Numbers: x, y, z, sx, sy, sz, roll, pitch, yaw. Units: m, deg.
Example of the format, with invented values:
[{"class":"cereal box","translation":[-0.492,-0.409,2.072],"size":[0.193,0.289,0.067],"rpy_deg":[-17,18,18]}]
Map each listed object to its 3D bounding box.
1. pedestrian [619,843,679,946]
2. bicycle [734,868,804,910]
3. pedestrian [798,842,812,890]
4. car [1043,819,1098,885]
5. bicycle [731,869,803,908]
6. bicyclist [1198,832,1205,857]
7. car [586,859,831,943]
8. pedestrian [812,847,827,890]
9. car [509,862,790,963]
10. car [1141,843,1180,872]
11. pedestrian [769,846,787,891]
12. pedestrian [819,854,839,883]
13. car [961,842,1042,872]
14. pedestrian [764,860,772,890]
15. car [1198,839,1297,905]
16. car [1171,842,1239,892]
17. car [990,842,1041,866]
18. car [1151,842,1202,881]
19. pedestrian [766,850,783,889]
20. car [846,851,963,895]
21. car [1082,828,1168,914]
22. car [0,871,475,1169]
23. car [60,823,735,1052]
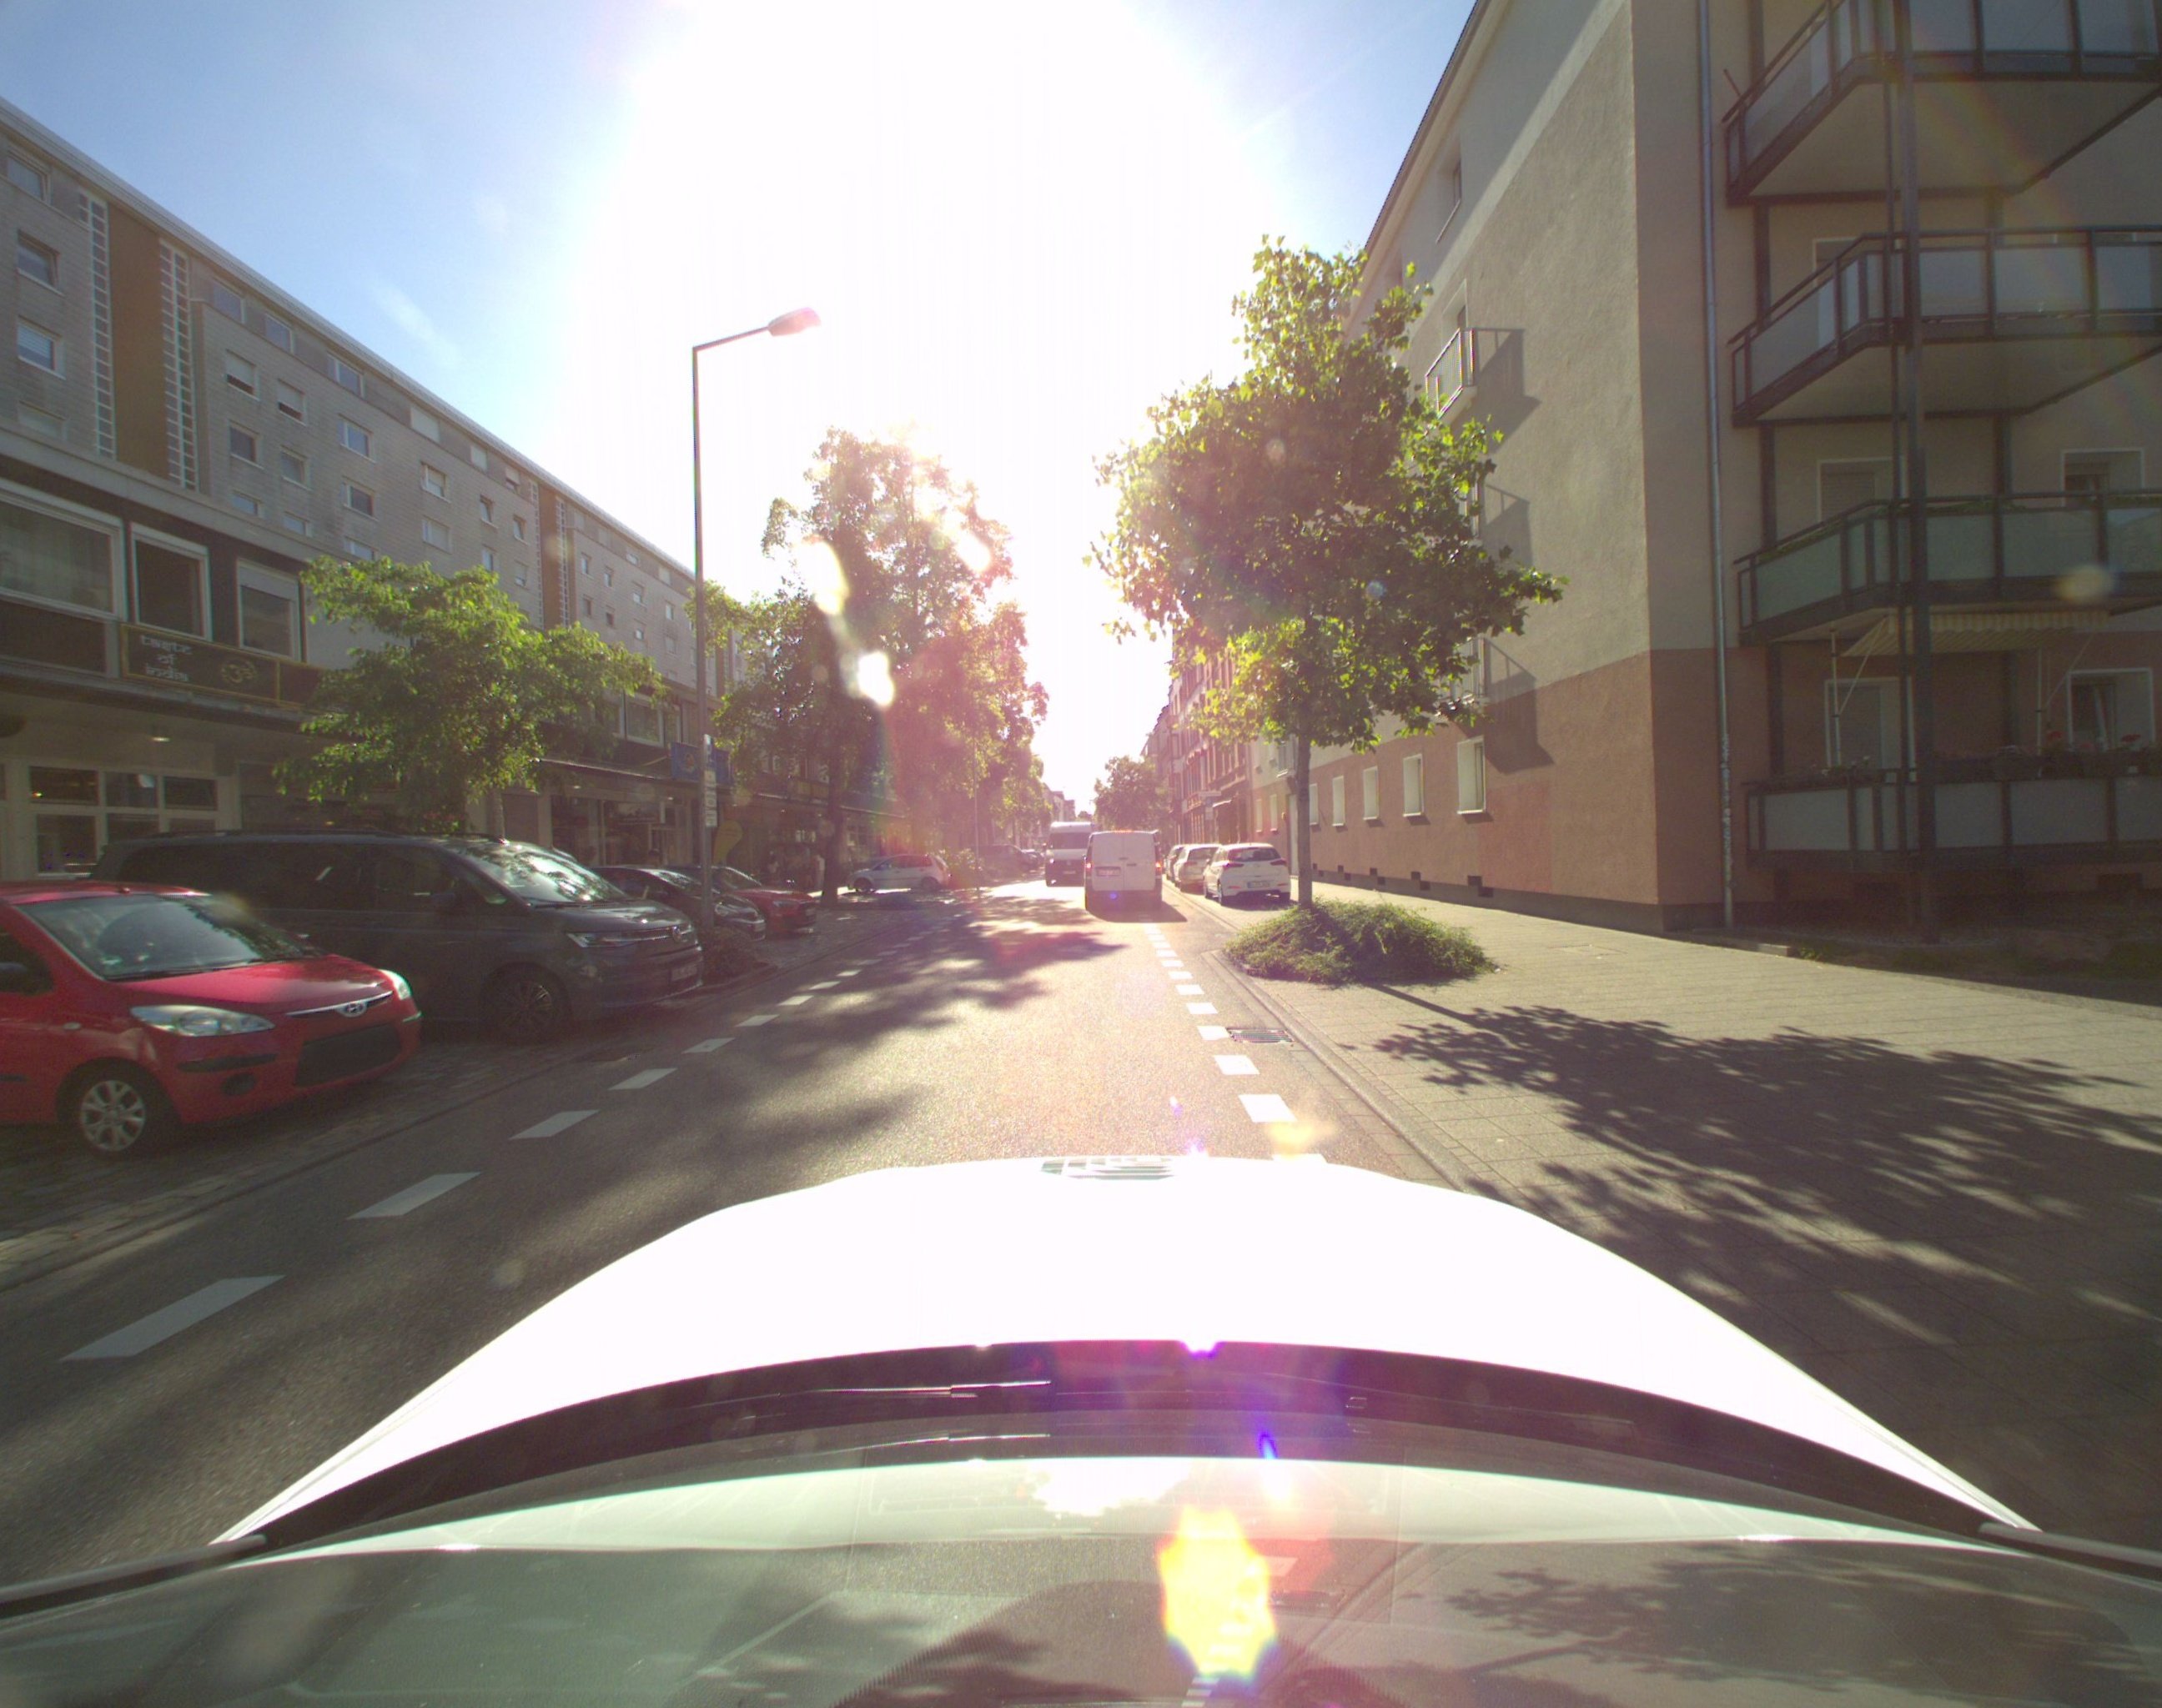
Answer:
[{"class":"pedestrian","translation":[-7.468,0.687,14.089],"size":[0.574,1.712,0.639],"rpy_deg":[-2,0,29]},{"class":"bicycle","translation":[-8.677,0.968,22.661],"size":[1.711,1.117,0.623],"rpy_deg":[0,0,3]},{"class":"pedestrian","translation":[-11.220,0.497,33.115],"size":[0.389,1.934,0.361],"rpy_deg":[-2,0,2]},{"class":"car","translation":[-0.334,-0.130,34.753],"size":[1.986,2.473,6.606],"rpy_deg":[-2,1,2]},{"class":"bicycle","translation":[-9.101,0.983,23.628],"size":[1.860,1.106,0.587],"rpy_deg":[0,0,3]},{"class":"bicyclist","translation":[7.330,-0.569,49.585],"size":[0.359,1.477,0.531],"rpy_deg":[-1,0,3]},{"class":"car","translation":[-7.087,0.870,15.784],"size":[3.905,1.450,1.710],"rpy_deg":[-1,0,0]},{"class":"pedestrian","translation":[-10.556,0.571,32.898],"size":[0.389,1.705,0.502],"rpy_deg":[-1,0,2]},{"class":"car","translation":[-6.883,0.899,13.286],"size":[3.657,1.450,1.612],"rpy_deg":[-1,0,-3]},{"class":"car","translation":[4.318,0.185,44.868],"size":[1.733,1.451,4.000],"rpy_deg":[-2,1,0]},{"class":"pedestrian","translation":[-12.211,0.583,32.787],"size":[0.483,1.782,0.427],"rpy_deg":[-2,0,-2]},{"class":"pedestrian","translation":[-11.792,0.668,38.130],"size":[0.721,1.330,0.703],"rpy_deg":[-1,0,-2]},{"class":"car","translation":[-5.424,0.186,55.929],"size":[5.274,1.974,2.015],"rpy_deg":[-1,0,0]},{"class":"pedestrian","translation":[-12.933,0.866,33.674],"size":[0.212,1.244,0.215],"rpy_deg":[-1,0,2]},{"class":"car","translation":[4.236,0.411,21.320],"size":[1.726,1.486,3.794],"rpy_deg":[-4,1,0]},{"class":"car","translation":[4.083,0.377,27.397],"size":[1.778,1.460,4.520],"rpy_deg":[-3,0,3]},{"class":"car","translation":[-5.515,-0.012,68.638],"size":[3.967,2.013,2.003],"rpy_deg":[0,1,5]},{"class":"car","translation":[3.922,0.271,34.008],"size":[1.703,1.480,3.711],"rpy_deg":[-2,0,1]},{"class":"pedestrian","translation":[-11.955,0.602,31.773],"size":[0.467,1.473,0.420],"rpy_deg":[-2,0,-2]},{"class":"car","translation":[-6.659,0.693,31.027],"size":[3.974,1.457,1.860],"rpy_deg":[-2,0,-1]},{"class":"car","translation":[1.013,0.344,20.779],"size":[1.914,1.914,4.888],"rpy_deg":[-1,1,0]},{"class":"car","translation":[-6.347,0.940,5.274],"size":[3.546,1.554,1.661],"rpy_deg":[-1,1,0]},{"class":"car","translation":[-6.347,0.716,8.026],"size":[5.013,1.938,1.873],"rpy_deg":[-1,1,0]}]
